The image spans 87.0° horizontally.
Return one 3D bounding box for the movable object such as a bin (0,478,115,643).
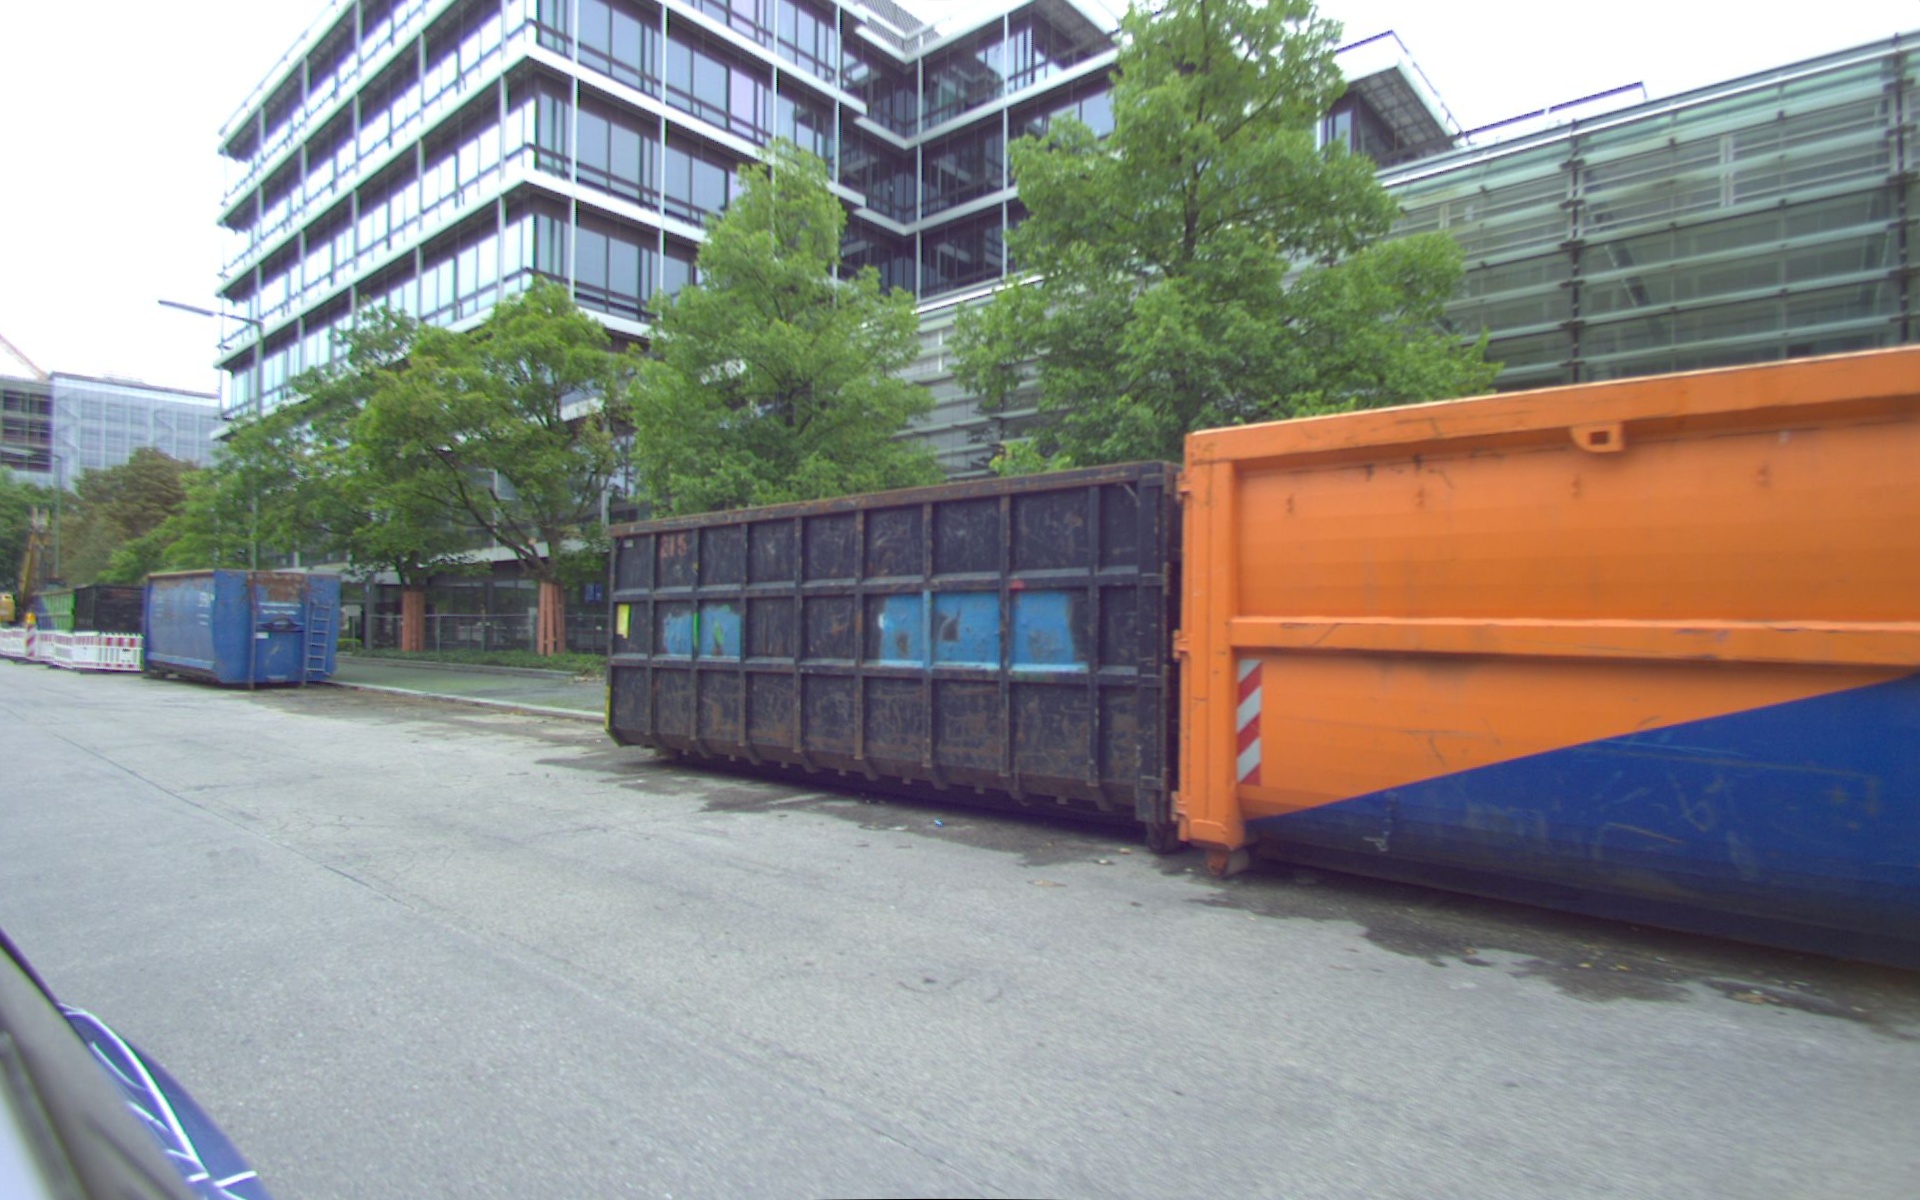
[{"bbox_3d":[-41.163,-1.485,45.466,11.777,6.614,2.874,-1,-2,41],"label":"movable object such as a bin"}]
